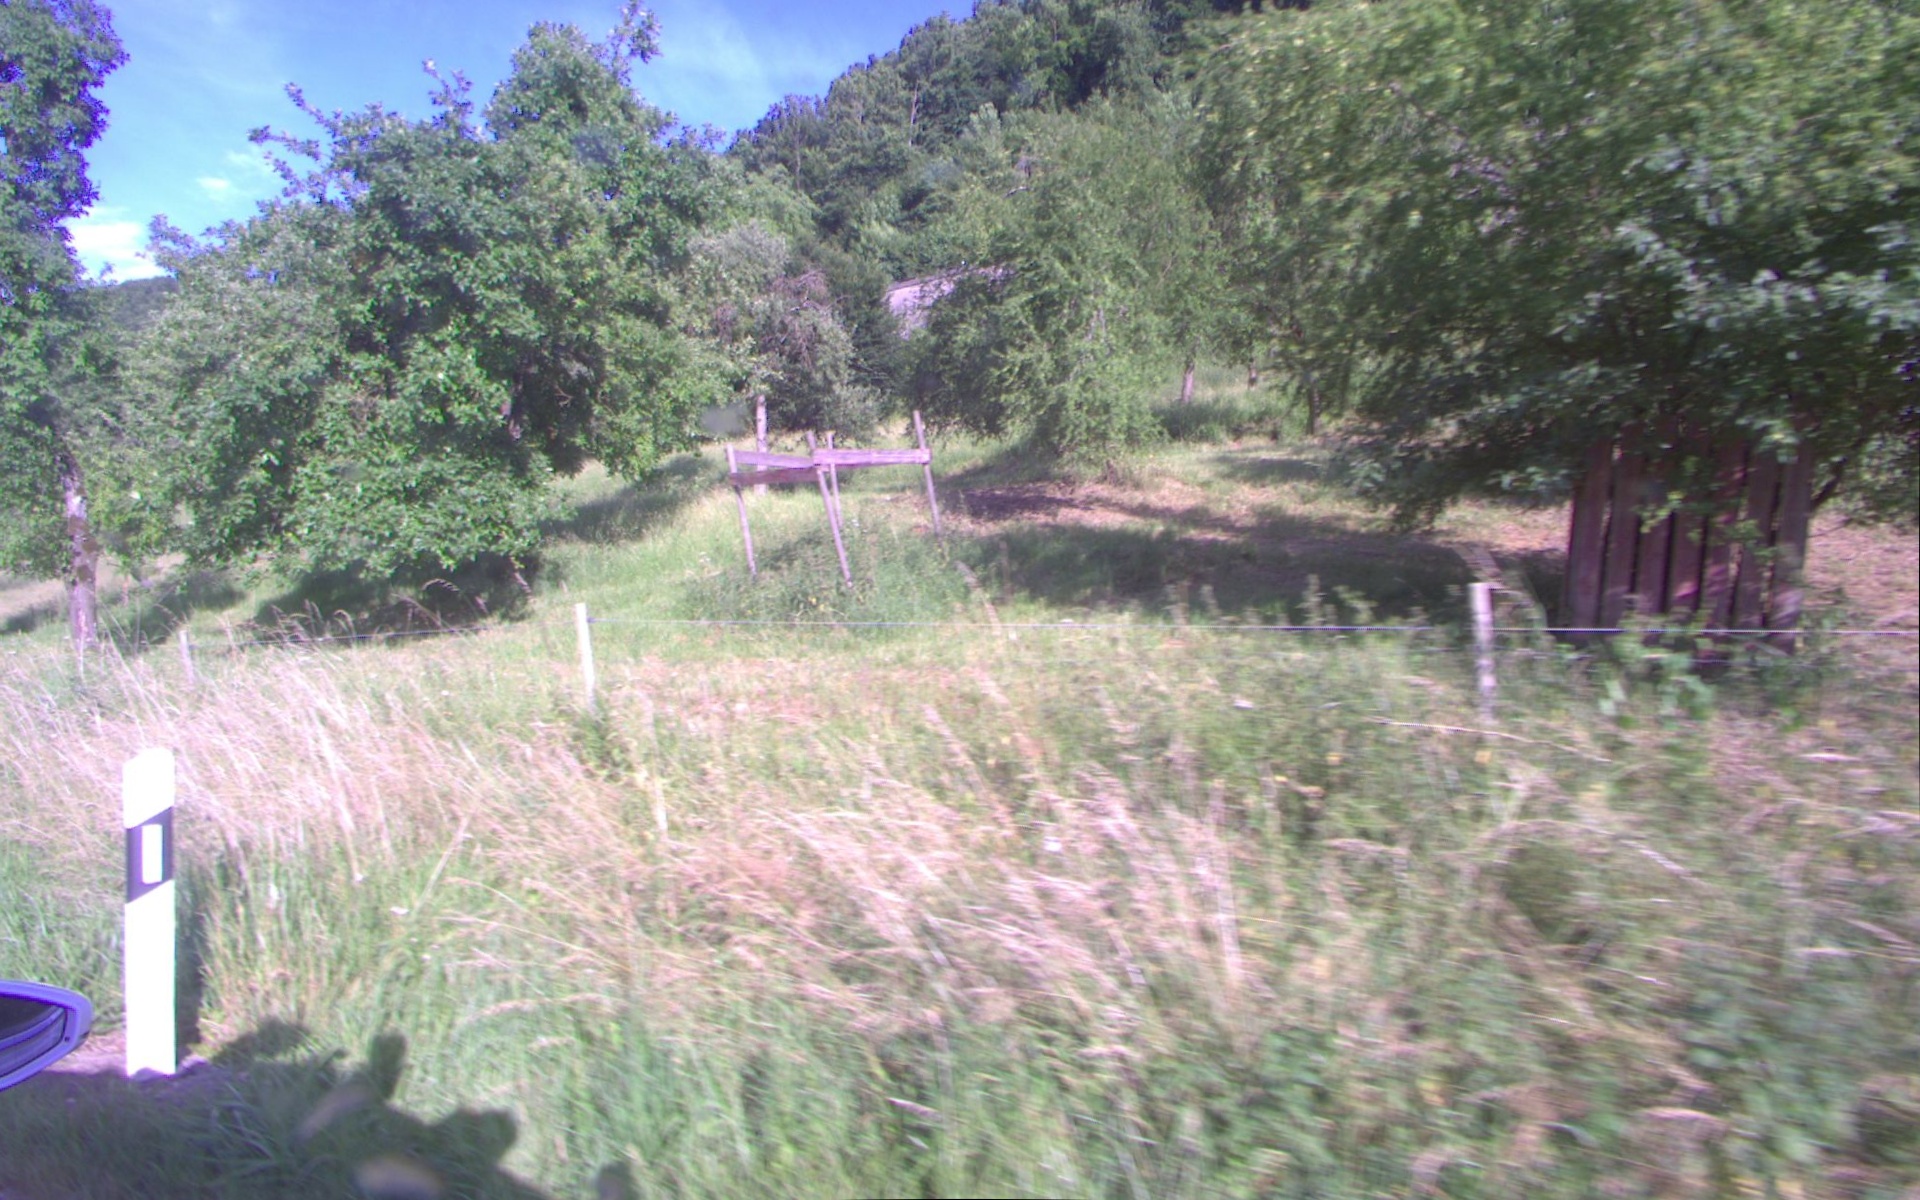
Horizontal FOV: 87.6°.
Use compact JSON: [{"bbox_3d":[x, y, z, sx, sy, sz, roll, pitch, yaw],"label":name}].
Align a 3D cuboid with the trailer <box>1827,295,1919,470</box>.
[{"bbox_3d":[17.701,-3.556,16.113,5.164,2.594,2.149,3,3,29],"label":"trailer"}]
